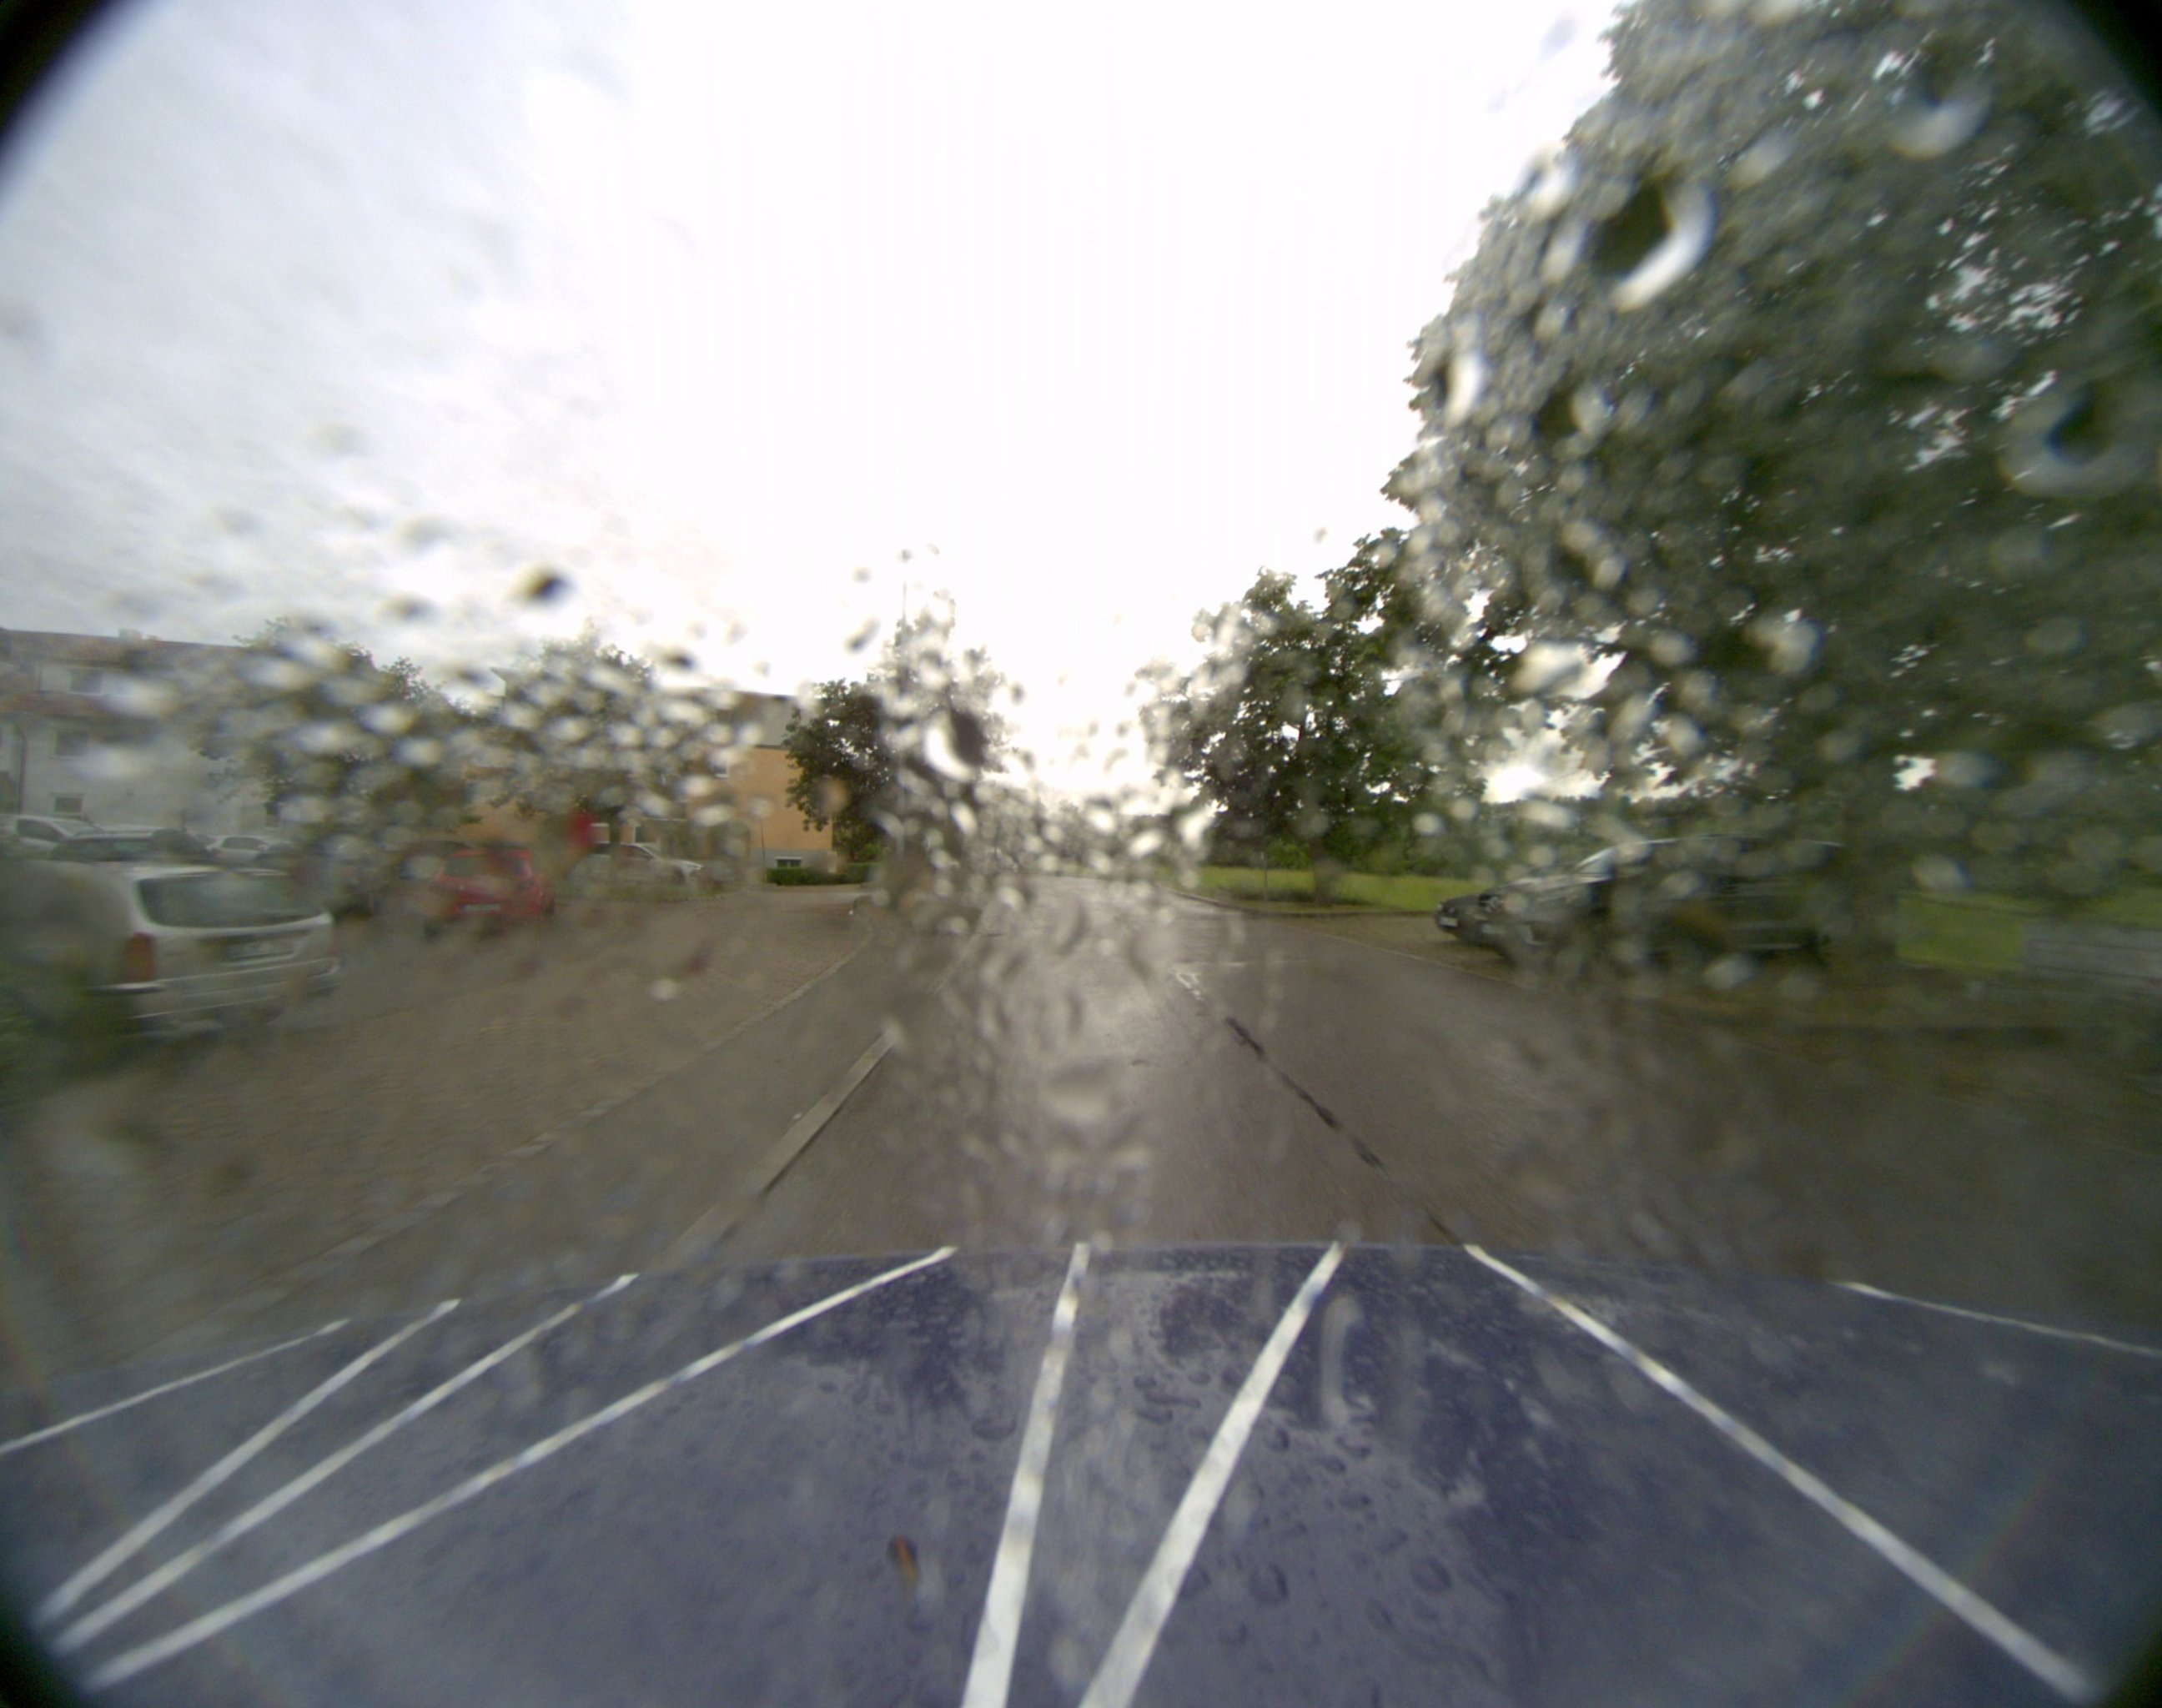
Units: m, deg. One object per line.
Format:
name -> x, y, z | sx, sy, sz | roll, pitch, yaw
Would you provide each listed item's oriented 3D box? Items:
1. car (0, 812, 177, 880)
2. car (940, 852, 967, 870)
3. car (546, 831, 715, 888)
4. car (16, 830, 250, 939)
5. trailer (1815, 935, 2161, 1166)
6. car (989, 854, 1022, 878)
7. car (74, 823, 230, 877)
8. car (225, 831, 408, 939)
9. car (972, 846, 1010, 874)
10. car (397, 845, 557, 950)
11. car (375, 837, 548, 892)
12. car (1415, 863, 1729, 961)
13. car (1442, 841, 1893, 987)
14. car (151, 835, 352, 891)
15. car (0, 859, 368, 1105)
car -> -30.527, -0.203, 22.533 | 4.425, 1.917, 1.929 | 0, -1, -16
car -> -13.328, 0.739, 79.299 | 1.827, 1.775, 3.811 | 0, 1, -24
car -> -15.622, 0.208, 26.653 | 4.719, 1.804, 1.944 | 2, 0, -18
car -> -19.189, 0.464, 15.673 | 1.862, 1.788, 4.446 | -3, 4, -37
trailer -> 7.418, 1.078, 4.633 | 3.951, 0.955, 2.000 | -1, 0, 0
car -> -5.971, 0.895, 59.584 | 1.818, 1.717, 4.645 | 0, 1, -15
car -> -37.150, -0.142, 30.567 | 2.001, 2.002, 3.994 | 2, 0, -16
car -> -15.723, 0.497, 15.929 | 1.862, 1.576, 4.815 | 0, 5, -35
car -> -7.784, 0.527, 65.318 | 2.056, 2.317, 5.398 | 0, 0, -20
car -> -11.554, 0.694, 14.850 | 1.861, 1.576, 4.314 | 0, 3, -31
car -> -20.475, 0.351, 25.347 | 4.023, 1.722, 1.953 | 0, -1, -19
car -> 8.077, 0.894, 12.709 | 4.225, 1.423, 1.773 | 0, 1, -6
car -> 7.434, 0.708, 10.011 | 4.379, 1.712, 2.044 | 0, 1, -1
car -> -25.790, 0.275, 23.800 | 3.833, 1.658, 1.832 | 0, 0, -17
car -> -8.659, 0.850, 6.016 | 4.323, 1.575, 1.858 | 0, 1, 2
